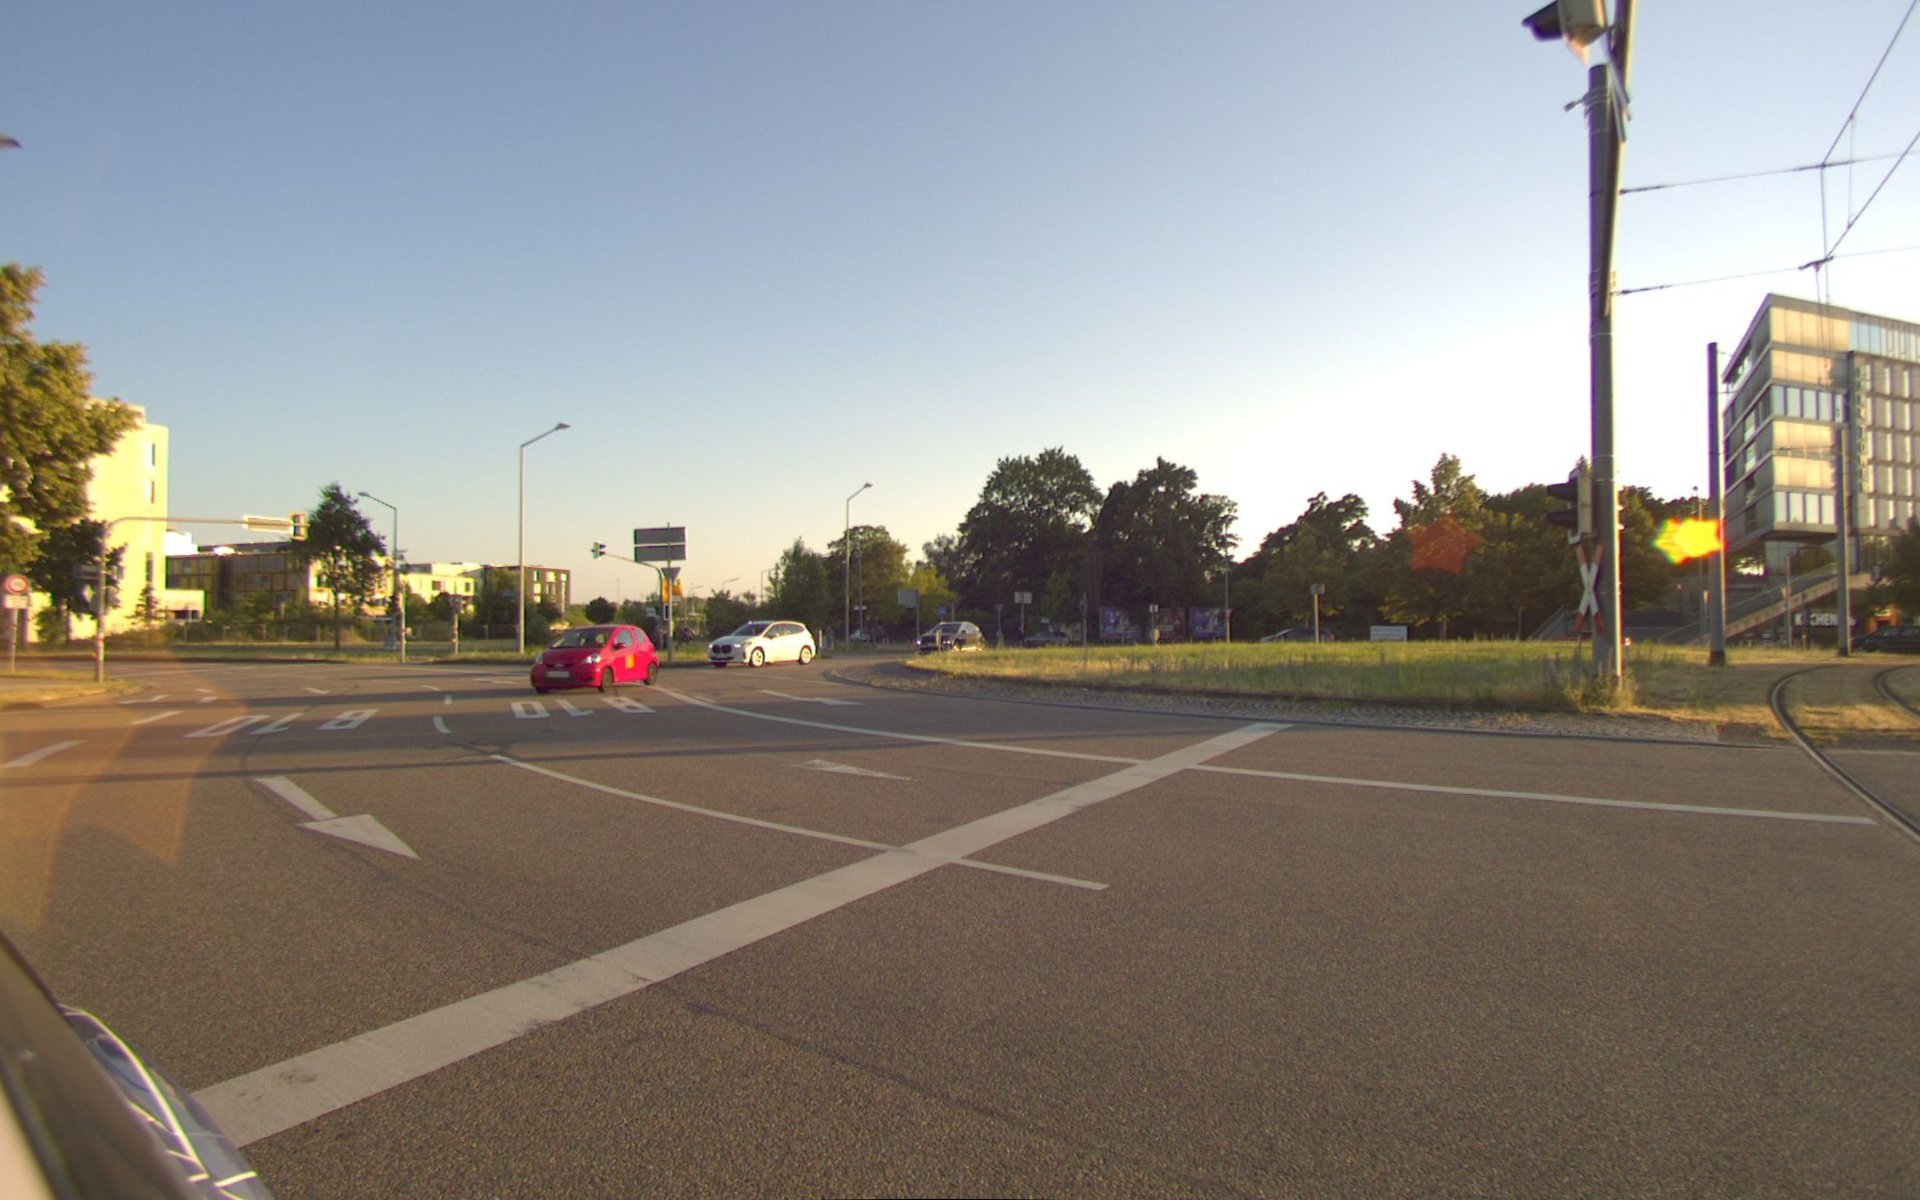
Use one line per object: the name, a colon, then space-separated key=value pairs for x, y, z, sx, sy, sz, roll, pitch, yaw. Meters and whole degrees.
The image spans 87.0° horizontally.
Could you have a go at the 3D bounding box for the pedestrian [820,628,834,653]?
pedestrian: x=-9.062 y=2.775 z=68.972 sx=0.875 sy=1.714 sz=0.722 roll=0 pitch=-2 yaw=-14

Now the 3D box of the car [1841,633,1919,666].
car: x=42.743 y=2.193 z=45.451 sx=1.911 sy=1.443 sz=4.334 roll=0 pitch=-2 yaw=-22

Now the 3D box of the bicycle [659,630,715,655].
bicycle: x=-16.359 y=2.536 z=60.790 sx=1.120 sy=1.406 sz=3.502 roll=-1 pitch=-2 yaw=31

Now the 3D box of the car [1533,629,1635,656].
car: x=34.431 y=2.353 z=55.902 sx=4.590 sy=1.443 sz=1.919 roll=-3 pitch=-3 yaw=40

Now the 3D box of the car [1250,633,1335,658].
car: x=19.534 y=2.672 z=59.627 sx=4.348 sy=1.443 sz=1.941 roll=-1 pitch=-2 yaw=5

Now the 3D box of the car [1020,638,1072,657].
car: x=7.007 y=3.892 z=82.828 sx=1.912 sy=1.443 sz=4.415 roll=1 pitch=-3 yaw=-32

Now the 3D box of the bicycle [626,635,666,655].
bicycle: x=-18.731 y=2.662 z=60.377 sx=0.808 sy=1.188 sz=2.303 roll=-1 pitch=-2 yaw=33

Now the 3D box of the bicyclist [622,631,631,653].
bicyclist: x=-21.541 y=2.715 z=65.413 sx=0.441 sy=1.408 sz=0.474 roll=0 pitch=-2 yaw=-2

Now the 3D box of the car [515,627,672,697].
car: x=-8.126 y=1.342 z=22.868 sx=1.674 sy=1.432 sz=4.203 roll=-1 pitch=-2 yaw=6

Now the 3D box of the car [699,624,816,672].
car: x=-6.945 y=1.637 z=35.112 sx=1.752 sy=1.570 sz=4.175 roll=-2 pitch=-2 yaw=28

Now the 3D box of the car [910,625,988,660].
car: x=-0.482 y=1.969 z=47.493 sx=1.821 sy=1.570 sz=4.172 roll=-2 pitch=-2 yaw=30

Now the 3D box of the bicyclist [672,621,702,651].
bicyclist: x=-16.362 y=2.143 z=60.686 sx=1.120 sy=1.762 sz=1.402 roll=-1 pitch=-2 yaw=31
